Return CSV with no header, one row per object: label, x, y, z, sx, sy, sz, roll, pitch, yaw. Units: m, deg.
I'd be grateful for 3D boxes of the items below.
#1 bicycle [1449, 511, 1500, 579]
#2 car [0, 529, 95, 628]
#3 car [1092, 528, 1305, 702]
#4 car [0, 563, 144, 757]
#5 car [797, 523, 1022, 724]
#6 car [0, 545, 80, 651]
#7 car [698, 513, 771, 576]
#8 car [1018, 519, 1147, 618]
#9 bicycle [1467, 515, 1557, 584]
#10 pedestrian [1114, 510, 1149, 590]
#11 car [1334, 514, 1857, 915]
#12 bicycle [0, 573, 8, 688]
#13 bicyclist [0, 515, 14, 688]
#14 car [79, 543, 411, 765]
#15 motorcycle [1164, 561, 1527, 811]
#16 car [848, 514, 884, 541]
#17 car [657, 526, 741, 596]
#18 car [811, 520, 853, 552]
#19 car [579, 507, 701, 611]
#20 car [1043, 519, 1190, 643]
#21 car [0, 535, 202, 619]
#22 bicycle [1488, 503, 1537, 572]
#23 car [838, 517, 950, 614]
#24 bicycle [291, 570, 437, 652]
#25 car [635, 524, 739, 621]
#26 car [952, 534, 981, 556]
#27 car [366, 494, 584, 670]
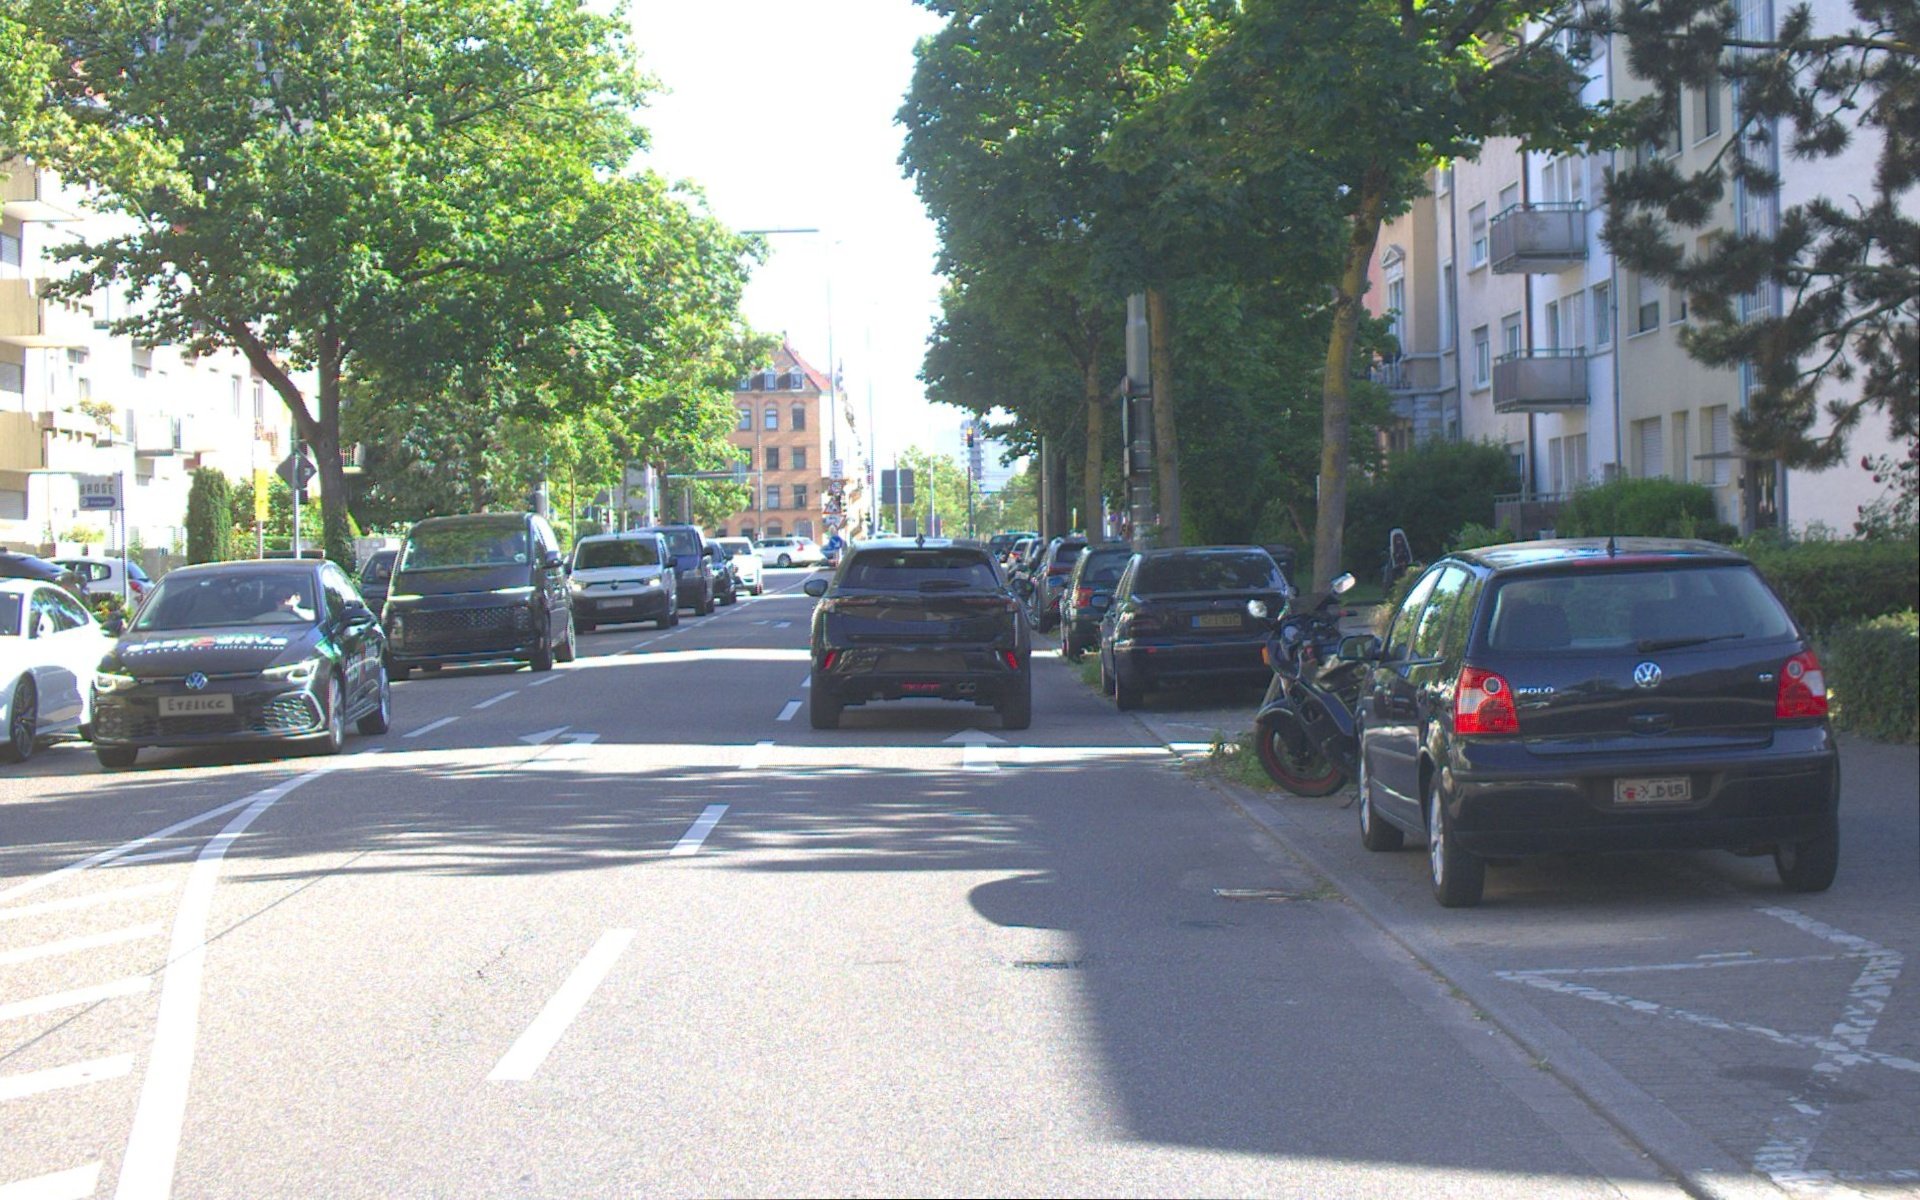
bicycle,10.029,-1.081,67.075,0.623,1.283,1.842,-4,1,0
car,-15.334,-0.334,52.026,3.988,1.456,1.732,0,2,8
car,2.120,0.082,31.508,1.586,1.391,4.454,-3,1,0
car,-8.117,0.426,28.074,1.833,1.384,4.802,0,1,-1
car,-0.416,0.149,28.557,1.745,1.568,3.558,0,1,-1
car,-14.864,-0.052,49.380,3.990,1.451,1.731,0,2,18
car,-6.406,-1.591,98.090,1.806,1.642,4.673,-4,1,-1
car,1.918,-0.534,55.071,1.714,1.484,4.235,-2,1,-2
bicycle,10.498,-0.963,65.401,1.537,1.218,0.463,-3,1,30
pedestrian,3.657,-1.076,73.342,0.669,1.676,0.776,-2,1,-1
car,2.650,0.397,15.087,1.620,1.494,3.649,-2,1,1
bicycle,-10.451,0.324,36.663,0.448,1.188,2.193,-2,1,-13
bicyclist,-10.517,0.016,36.762,0.658,1.817,1.055,-2,1,-12
car,-5.420,0.347,26.548,1.691,1.448,4.174,-4,1,-1
motorcycle,2.098,0.446,19.129,0.697,1.267,2.432,-4,2,-28
car,-5.067,-3.926,185.820,1.772,1.447,3.885,-1,1,1
car,-6.363,-0.981,84.177,1.719,1.560,4.343,-4,1,-1
car,-6.082,-3.047,163.601,1.772,1.447,3.885,-1,1,1
car,-5.824,-0.769,62.955,1.815,1.737,4.494,-3,1,-1
car,1.923,-0.272,42.688,1.692,1.423,4.147,-2,1,2
car,-16.185,-0.433,63.450,3.987,1.481,1.881,0,2,-1
bicycle,10.758,-1.225,66.989,0.591,1.283,1.689,-4,1,0
car,-1.105,-0.628,59.594,1.830,1.573,3.839,-1,1,0
bicycle,-8.145,0.137,46.951,2.025,1.088,0.462,0,2,23
car,-5.833,-0.627,73.820,1.803,1.904,4.712,-4,1,-1
car,0.465,-3.959,246.889,1.993,1.514,4.000,1,1,1
car,-5.951,-0.270,42.777,2.016,1.945,5.179,-3,1,-1
